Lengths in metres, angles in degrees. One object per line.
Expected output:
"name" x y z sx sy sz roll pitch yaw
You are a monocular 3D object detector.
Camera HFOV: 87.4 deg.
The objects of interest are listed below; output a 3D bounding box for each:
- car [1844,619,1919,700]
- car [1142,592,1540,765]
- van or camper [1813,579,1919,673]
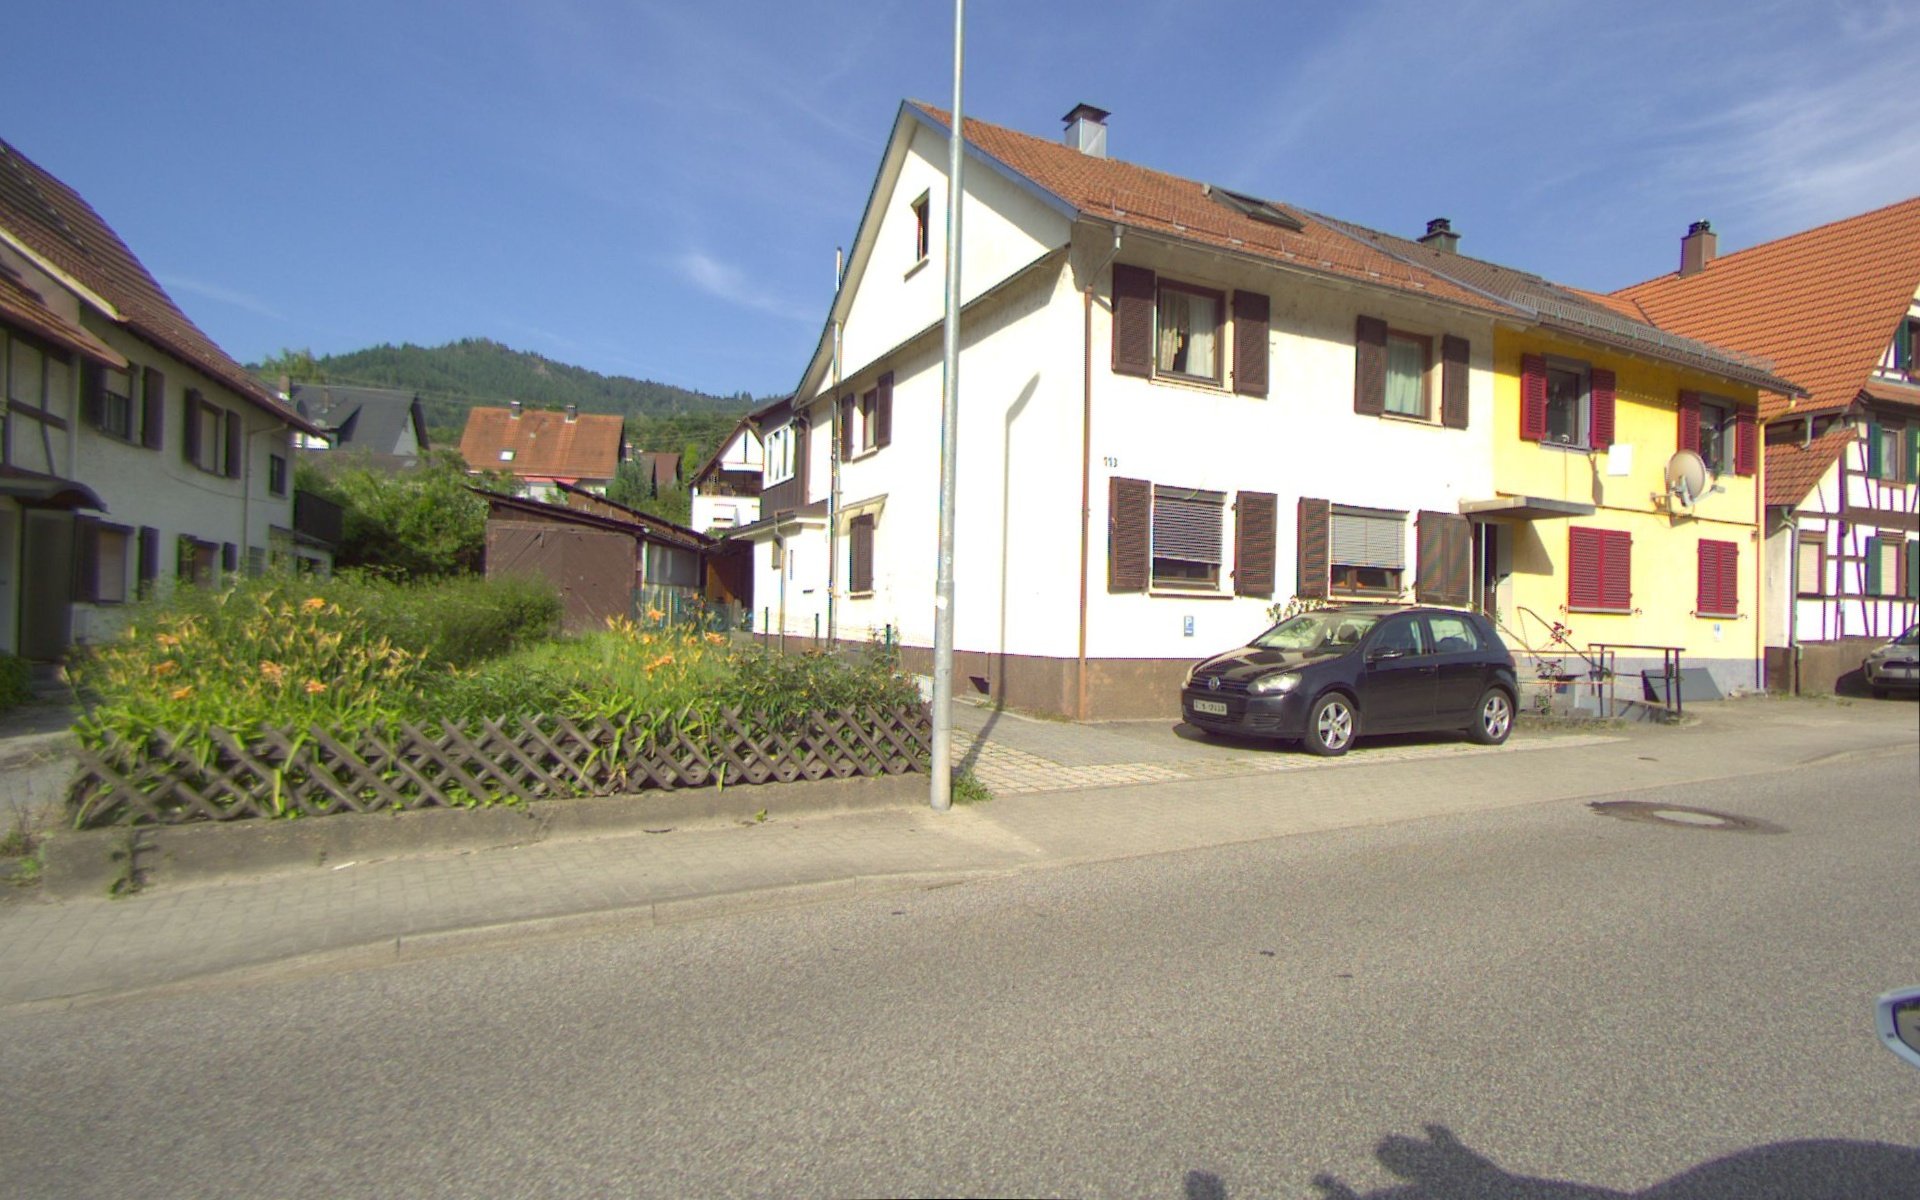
"car" 19.799 1.159 20.088 4.042 1.539 1.877 1 -2 -28
"car" 4.205 0.744 10.923 4.189 1.539 1.874 1 0 -32
"van or camper" 28.484 0.775 29.215 2.158 2.699 5.170 2 0 -19
